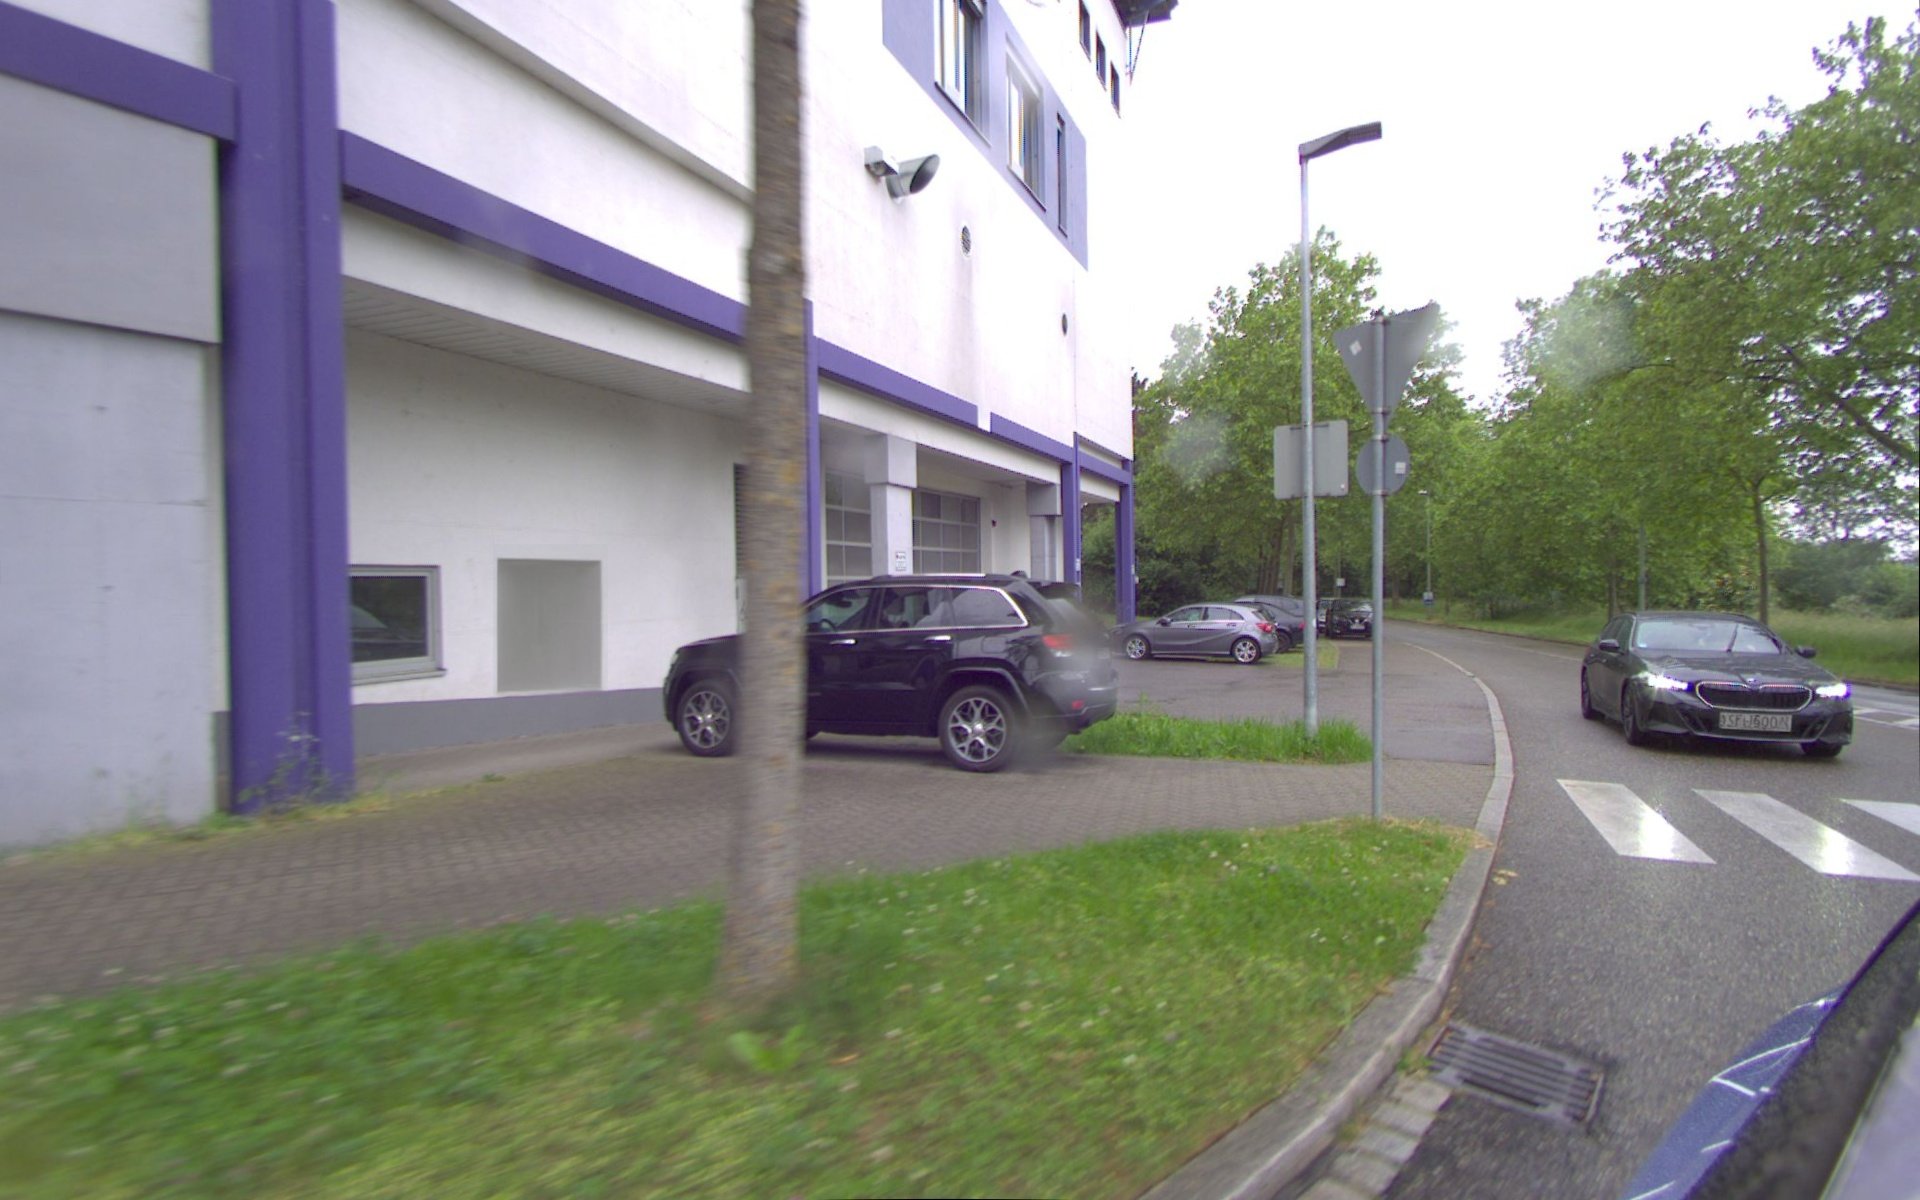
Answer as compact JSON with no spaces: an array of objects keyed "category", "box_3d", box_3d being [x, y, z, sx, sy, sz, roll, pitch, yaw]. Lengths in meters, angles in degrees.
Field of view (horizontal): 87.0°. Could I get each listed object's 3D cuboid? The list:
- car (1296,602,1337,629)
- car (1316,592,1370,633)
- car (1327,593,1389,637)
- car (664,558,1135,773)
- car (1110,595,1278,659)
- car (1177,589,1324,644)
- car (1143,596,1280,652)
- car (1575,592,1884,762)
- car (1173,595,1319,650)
[{"category":"car","box_3d":[19.836,0.844,56.443,1.777,1.389,3.727,1,1,15]},{"category":"car","box_3d":[16.526,0.487,43.832,1.708,1.611,4.234,1,1,15]},{"category":"car","box_3d":[15.652,0.538,39.955,1.781,1.622,4.350,1,1,15]},{"category":"car","box_3d":[-0.584,0.578,10.076,4.339,1.782,1.815,0,-2,22]},{"category":"car","box_3d":[5.883,0.642,25.394,3.905,1.471,1.708,0,0,23]},{"category":"car","box_3d":[9.321,0.527,32.669,4.424,1.702,1.757,0,-1,17]},{"category":"car","box_3d":[7.004,0.646,28.128,3.582,1.471,1.710,0,-1,20]},{"category":"car","box_3d":[8.940,0.729,12.281,1.824,1.513,4.864,-1,1,23]},{"category":"car","box_3d":[8.455,0.647,30.063,4.063,1.497,1.713,0,1,17]}]
